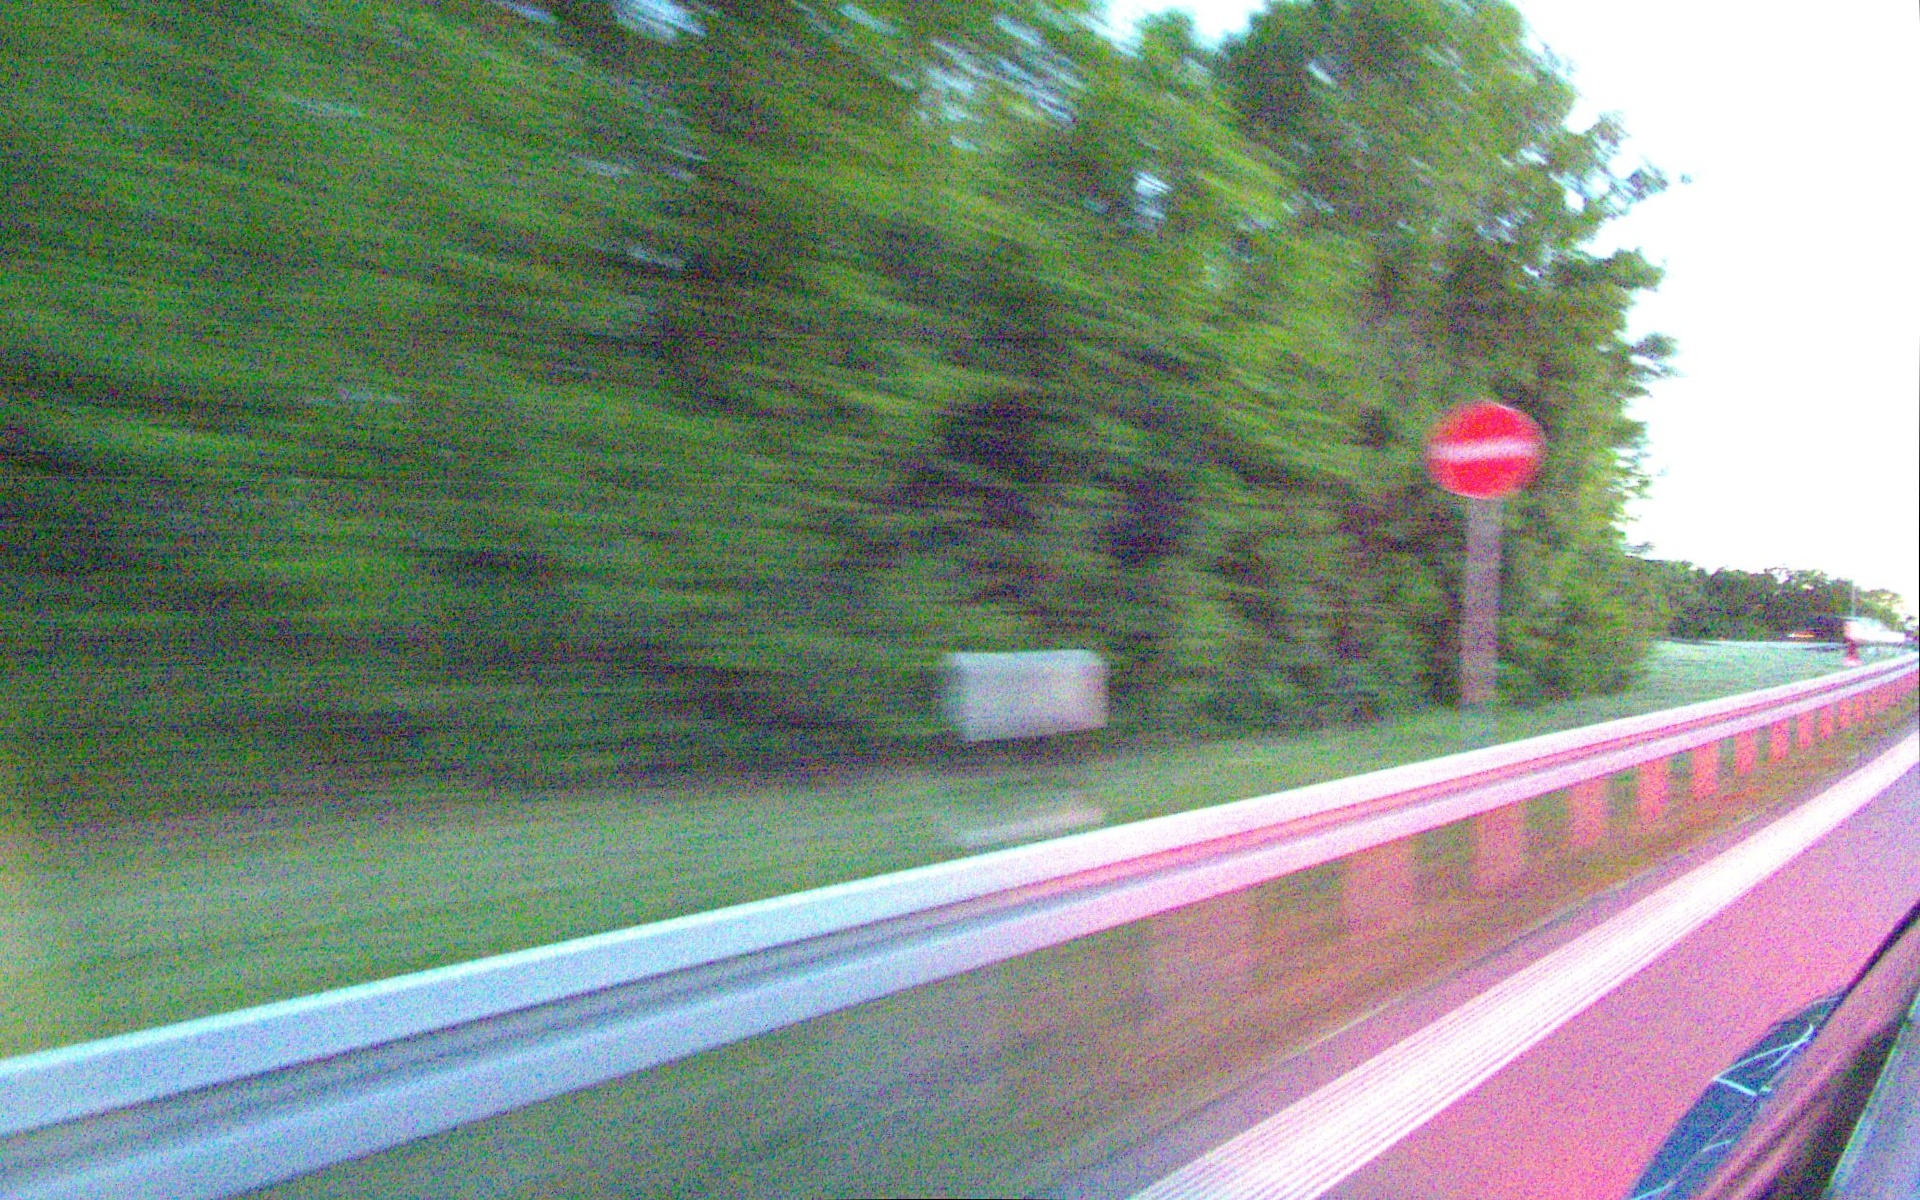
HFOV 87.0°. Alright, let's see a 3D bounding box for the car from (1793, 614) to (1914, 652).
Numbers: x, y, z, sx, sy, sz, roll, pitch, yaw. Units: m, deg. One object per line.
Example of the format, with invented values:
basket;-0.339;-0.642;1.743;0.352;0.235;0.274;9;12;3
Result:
car;63.760;2.302;72.404;2.218;2.561;6.507;0;-1;-9
